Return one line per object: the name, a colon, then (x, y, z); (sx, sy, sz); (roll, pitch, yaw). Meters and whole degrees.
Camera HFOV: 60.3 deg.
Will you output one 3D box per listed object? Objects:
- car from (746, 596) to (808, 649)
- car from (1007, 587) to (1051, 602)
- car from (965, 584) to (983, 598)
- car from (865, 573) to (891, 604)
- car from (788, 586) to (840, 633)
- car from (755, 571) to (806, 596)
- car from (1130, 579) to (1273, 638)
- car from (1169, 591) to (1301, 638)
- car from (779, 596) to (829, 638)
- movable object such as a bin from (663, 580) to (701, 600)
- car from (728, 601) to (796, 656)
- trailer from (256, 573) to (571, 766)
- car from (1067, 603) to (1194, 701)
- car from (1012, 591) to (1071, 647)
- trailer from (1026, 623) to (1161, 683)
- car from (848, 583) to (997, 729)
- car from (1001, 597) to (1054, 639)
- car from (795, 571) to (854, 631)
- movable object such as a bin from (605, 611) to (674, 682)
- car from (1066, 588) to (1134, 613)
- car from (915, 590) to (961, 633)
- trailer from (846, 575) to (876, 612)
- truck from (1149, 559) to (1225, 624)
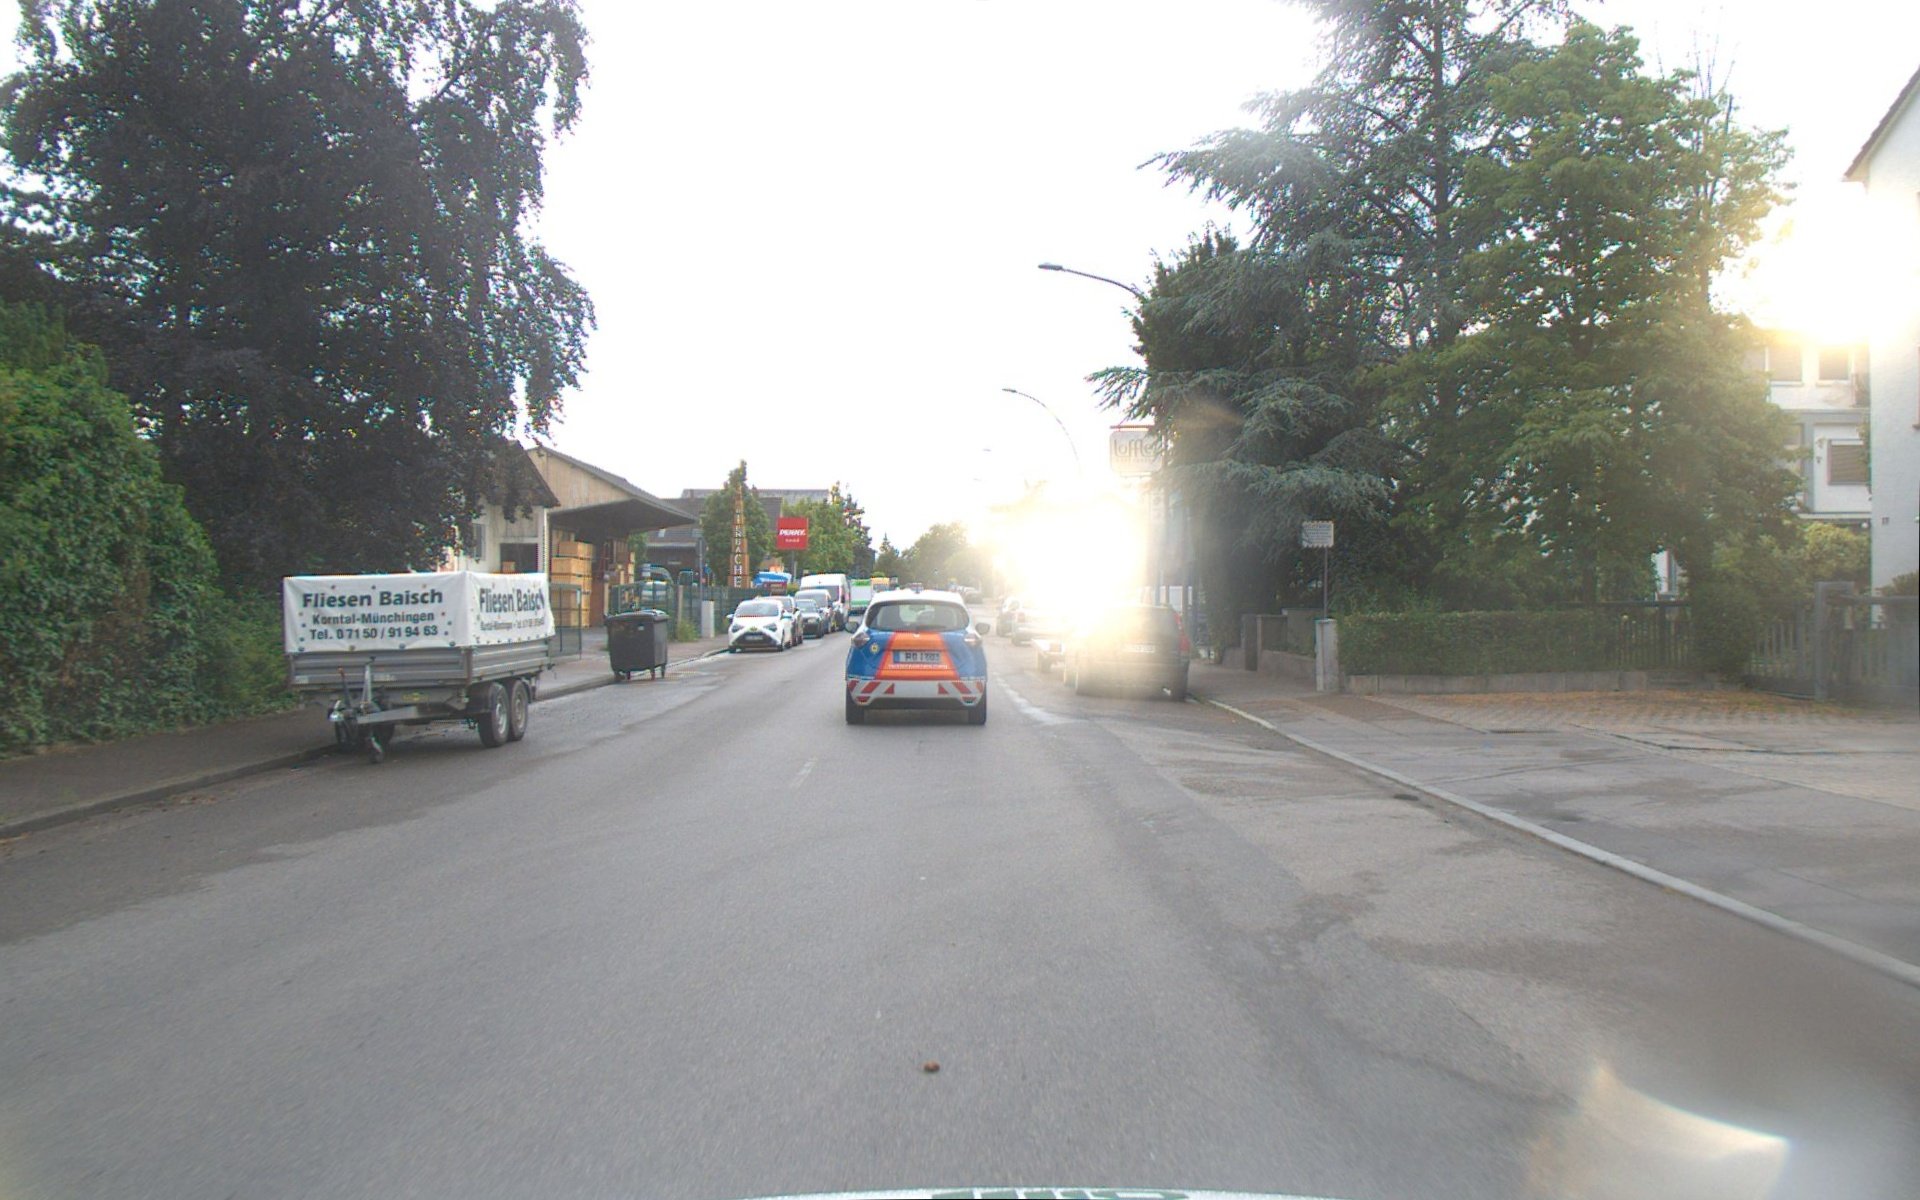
car: (-5.922, 0.714, 53.974); (1.627, 1.612, 3.915); (-2, 0, -2)
car: (6.164, -0.481, 148.047); (3.905, 1.288, 1.951); (1, 0, 1)
car: (1.357, -0.878, 164.988); (1.558, 1.364, 4.091); (0, 0, -2)
car: (-7.071, -1.004, 142.855); (2.082, 2.582, 6.019); (-1, 1, -2)
car: (-6.098, 0.399, 69.570); (1.734, 1.799, 4.446); (-4, 0, 0)
car: (-15.568, -1.454, 143.638); (4.218, 2.049, 2.062); (1, 0, -1)
car: (8.372, 0.286, 57.618); (4.635, 1.919, 2.000); (1, 0, -1)
car: (9.132, 0.474, 55.123); (4.020, 1.482, 2.000); (1, 0, -1)
car: (-5.922, 0.622, 63.132); (1.628, 1.474, 4.315); (-2, 0, -2)
movable object such as a bin: (-25.666, -0.938, 152.589); (3.357, 1.790, 1.997); (1, 0, -7)
car: (-5.831, 0.818, 49.049); (1.583, 1.535, 3.660); (-2, 0, 0)
trailer: (-5.661, 0.638, 17.788); (1.890, 1.796, 4.548); (0, 0, 0)
car: (2.762, 0.793, 27.581); (1.704, 1.458, 4.649); (1, 0, 1)
car: (2.525, 0.571, 51.987); (1.703, 1.650, 4.373); (1, 0, 1)
trailer: (2.593, 1.027, 33.882); (2.129, 0.913, 6.635); (1, 1, -1)
car: (-0.479, 0.642, 20.674); (1.696, 1.659, 3.493); (0, 0, -2)
car: (2.478, 0.642, 61.808); (1.703, 1.492, 4.545); (1, 0, -1)
car: (-6.133, 0.025, 75.362); (2.114, 2.469, 6.458); (-3, 0, -1)
movable object such as a bin: (-6.267, 0.891, 32.446); (1.078, 1.333, 1.425); (1, 0, -1)
car: (8.307, 0.025, 98.401); (3.907, 1.455, 1.630); (0, 0, -3)
car: (-0.853, 0.419, 62.316); (1.617, 1.548, 3.998); (1, 0, -3)
trailer: (-6.747, -0.474, 112.740); (1.776, 2.354, 4.729); (-2, 1, -1)
truck: (14.013, -0.518, 102.495); (4.062, 3.737, 2.718); (3, 0, -3)
